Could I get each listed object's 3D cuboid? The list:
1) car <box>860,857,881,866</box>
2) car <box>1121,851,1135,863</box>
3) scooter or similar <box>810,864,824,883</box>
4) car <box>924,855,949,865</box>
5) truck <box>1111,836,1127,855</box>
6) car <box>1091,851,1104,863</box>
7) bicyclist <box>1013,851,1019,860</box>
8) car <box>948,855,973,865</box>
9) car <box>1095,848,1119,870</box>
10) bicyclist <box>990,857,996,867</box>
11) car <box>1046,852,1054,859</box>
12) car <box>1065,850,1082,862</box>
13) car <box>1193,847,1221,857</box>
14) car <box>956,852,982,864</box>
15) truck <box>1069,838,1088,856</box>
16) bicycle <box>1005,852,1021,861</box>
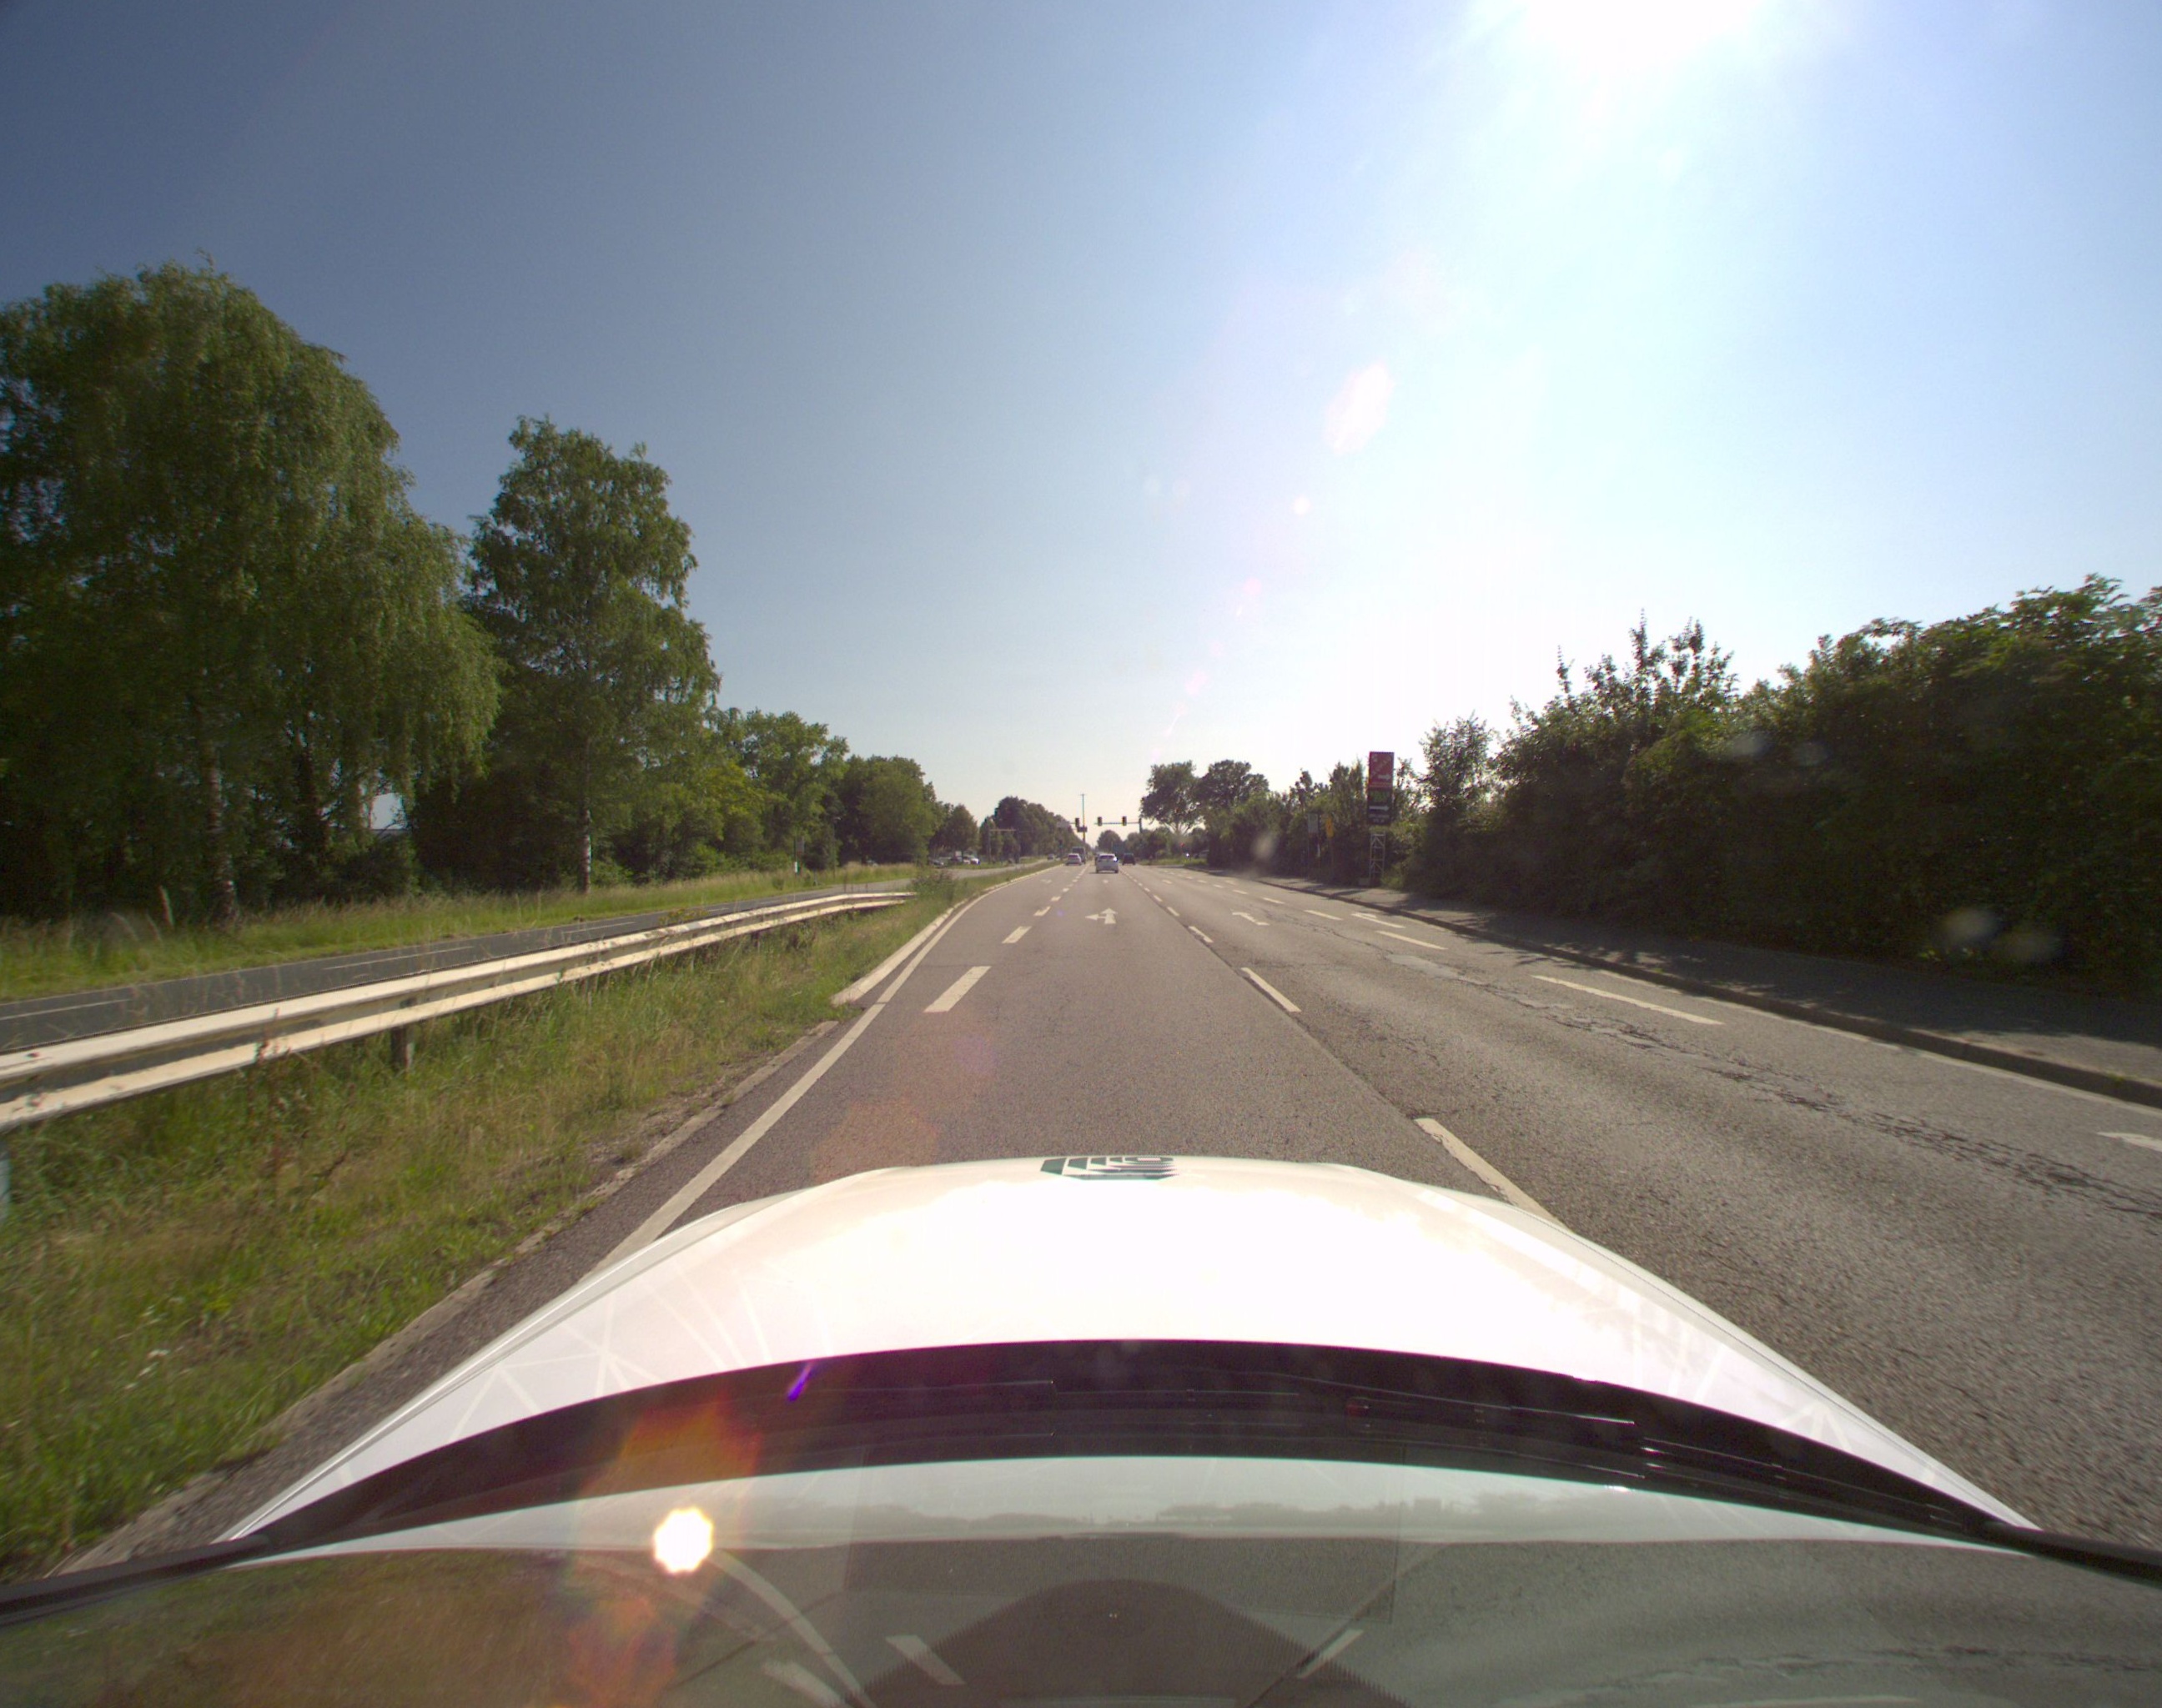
[{"bbox_3d":[-40.848,1.468,158.113,4.214,1.606,2.017,-2,0,43],"label":"car"},{"bbox_3d":[5.882,0.361,101.676,1.566,1.414,3.278,-1,0,1],"label":"car"},{"bbox_3d":[-17.395,1.266,53.618,0.367,1.186,1.341,-3,0,1],"label":"scooter or similar"},{"bbox_3d":[-25.976,1.144,146.294,4.212,1.606,2.018,-2,0,36],"label":"car"},{"bbox_3d":[7.439,-1.693,159.727,2.881,3.428,9.172,-2,1,1],"label":"truck"},{"bbox_3d":[1.988,0.348,100.175,1.566,1.414,3.279,-1,1,1],"label":"car"},{"bbox_3d":[-12.006,0.251,149.860,0.854,1.618,0.763,-1,0,29],"label":"bicyclist"},{"bbox_3d":[-21.140,1.049,142.773,4.212,1.606,2.018,-2,0,36],"label":"car"},{"bbox_3d":[1.978,0.337,62.040,1.792,1.552,4.002,0,1,2],"label":"car"},{"bbox_3d":[-12.909,1.140,119.478,0.842,1.517,0.748,-1,0,6],"label":"bicyclist"},{"bbox_3d":[-7.670,0.358,201.806,1.480,1.414,3.763,-4,0,1],"label":"car"},{"bbox_3d":[-0.858,0.270,100.622,1.805,1.464,4.974,-1,0,2],"label":"car"},{"bbox_3d":[19.243,-0.265,124.361,3.707,1.469,1.796,-1,0,28],"label":"car"},{"bbox_3d":[-20.155,0.747,146.537,4.595,1.950,2.013,-2,0,36],"label":"car"},{"bbox_3d":[-0.352,-0.969,113.150,2.365,2.389,6.043,-2,1,1],"label":"truck"},{"bbox_3d":[-12.549,0.438,150.178,2.765,1.670,1.143,-2,1,28],"label":"bicycle"}]
